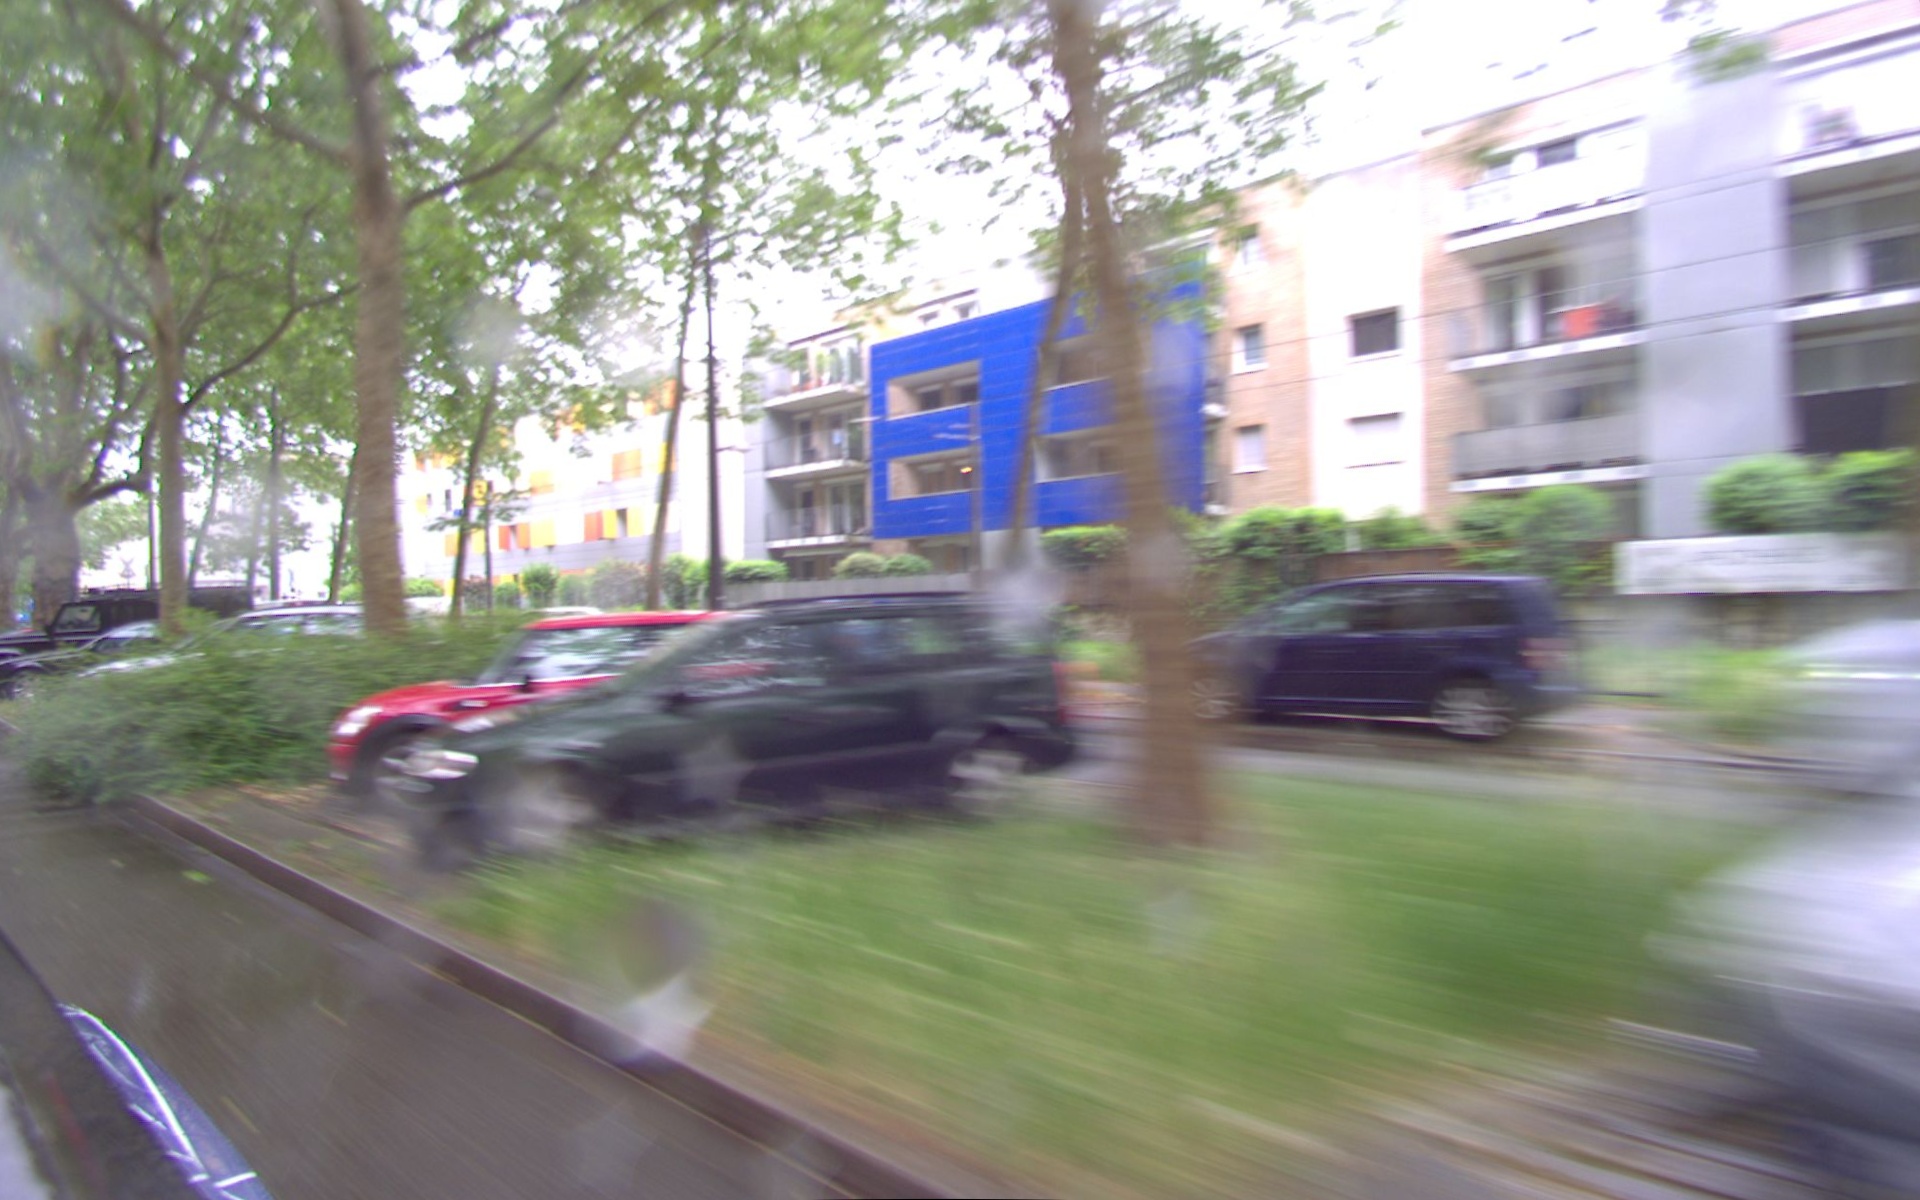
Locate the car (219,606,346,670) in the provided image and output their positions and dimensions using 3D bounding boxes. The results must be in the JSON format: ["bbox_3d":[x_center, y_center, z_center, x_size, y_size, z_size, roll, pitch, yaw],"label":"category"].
[{"bbox_3d":[-24.167,1.356,36.030,5.425,2.012,2.035,-2,1,37],"label":"car"}]

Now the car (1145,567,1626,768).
[{"bbox_3d":[4.450,0.629,10.966,4.417,1.753,1.885,-2,0,39],"label":"car"}]

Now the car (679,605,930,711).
[{"bbox_3d":[-2.731,0.933,17.293,4.211,1.545,1.885,-2,0,39],"label":"car"}]

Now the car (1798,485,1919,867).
[{"bbox_3d":[7.398,0.318,4.782,5.152,2.015,2.018,-2,0,38],"label":"car"}]

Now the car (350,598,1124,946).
[{"bbox_3d":[-1.256,0.827,6.372,4.157,1.490,1.749,-2,0,-22],"label":"car"}]

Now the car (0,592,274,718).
[{"bbox_3d":[-16.816,1.049,20.416,4.580,2.300,2.018,-1,-1,-20],"label":"car"}]

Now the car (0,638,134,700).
[{"bbox_3d":[-24.193,1.791,26.224,3.976,1.445,1.787,-1,-1,-24],"label":"car"}]

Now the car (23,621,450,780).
[{"bbox_3d":[-8.674,1.123,12.619,3.995,1.549,1.841,-2,0,-24],"label":"car"}]

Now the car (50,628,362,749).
[{"bbox_3d":[-10.722,1.195,14.710,3.451,1.479,1.647,-1,-1,-30],"label":"car"}]

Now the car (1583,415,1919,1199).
[{"bbox_3d":[3.735,0.536,1.996,4.342,1.658,1.877,0,-1,-18],"label":"car"}]

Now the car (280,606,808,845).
[{"bbox_3d":[-3.227,0.878,8.345,3.591,1.490,1.749,-2,0,-19],"label":"car"}]

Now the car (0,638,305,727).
[{"bbox_3d":[-14.765,1.442,18.358,4.579,1.336,1.853,-1,-1,-22],"label":"car"}]

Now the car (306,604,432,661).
[{"bbox_3d":[-17.667,0.958,30.165,4.211,1.545,1.885,-2,0,39],"label":"car"}]

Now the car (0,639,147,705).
[{"bbox_3d":[-22.272,1.739,24.690,3.442,1.447,1.787,-1,-1,-22],"label":"car"}]

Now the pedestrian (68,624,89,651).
[{"bbox_3d":[-59.248,2.502,68.021,1.205,1.813,0.926,-1,0,40],"label":"pedestrian"}]
